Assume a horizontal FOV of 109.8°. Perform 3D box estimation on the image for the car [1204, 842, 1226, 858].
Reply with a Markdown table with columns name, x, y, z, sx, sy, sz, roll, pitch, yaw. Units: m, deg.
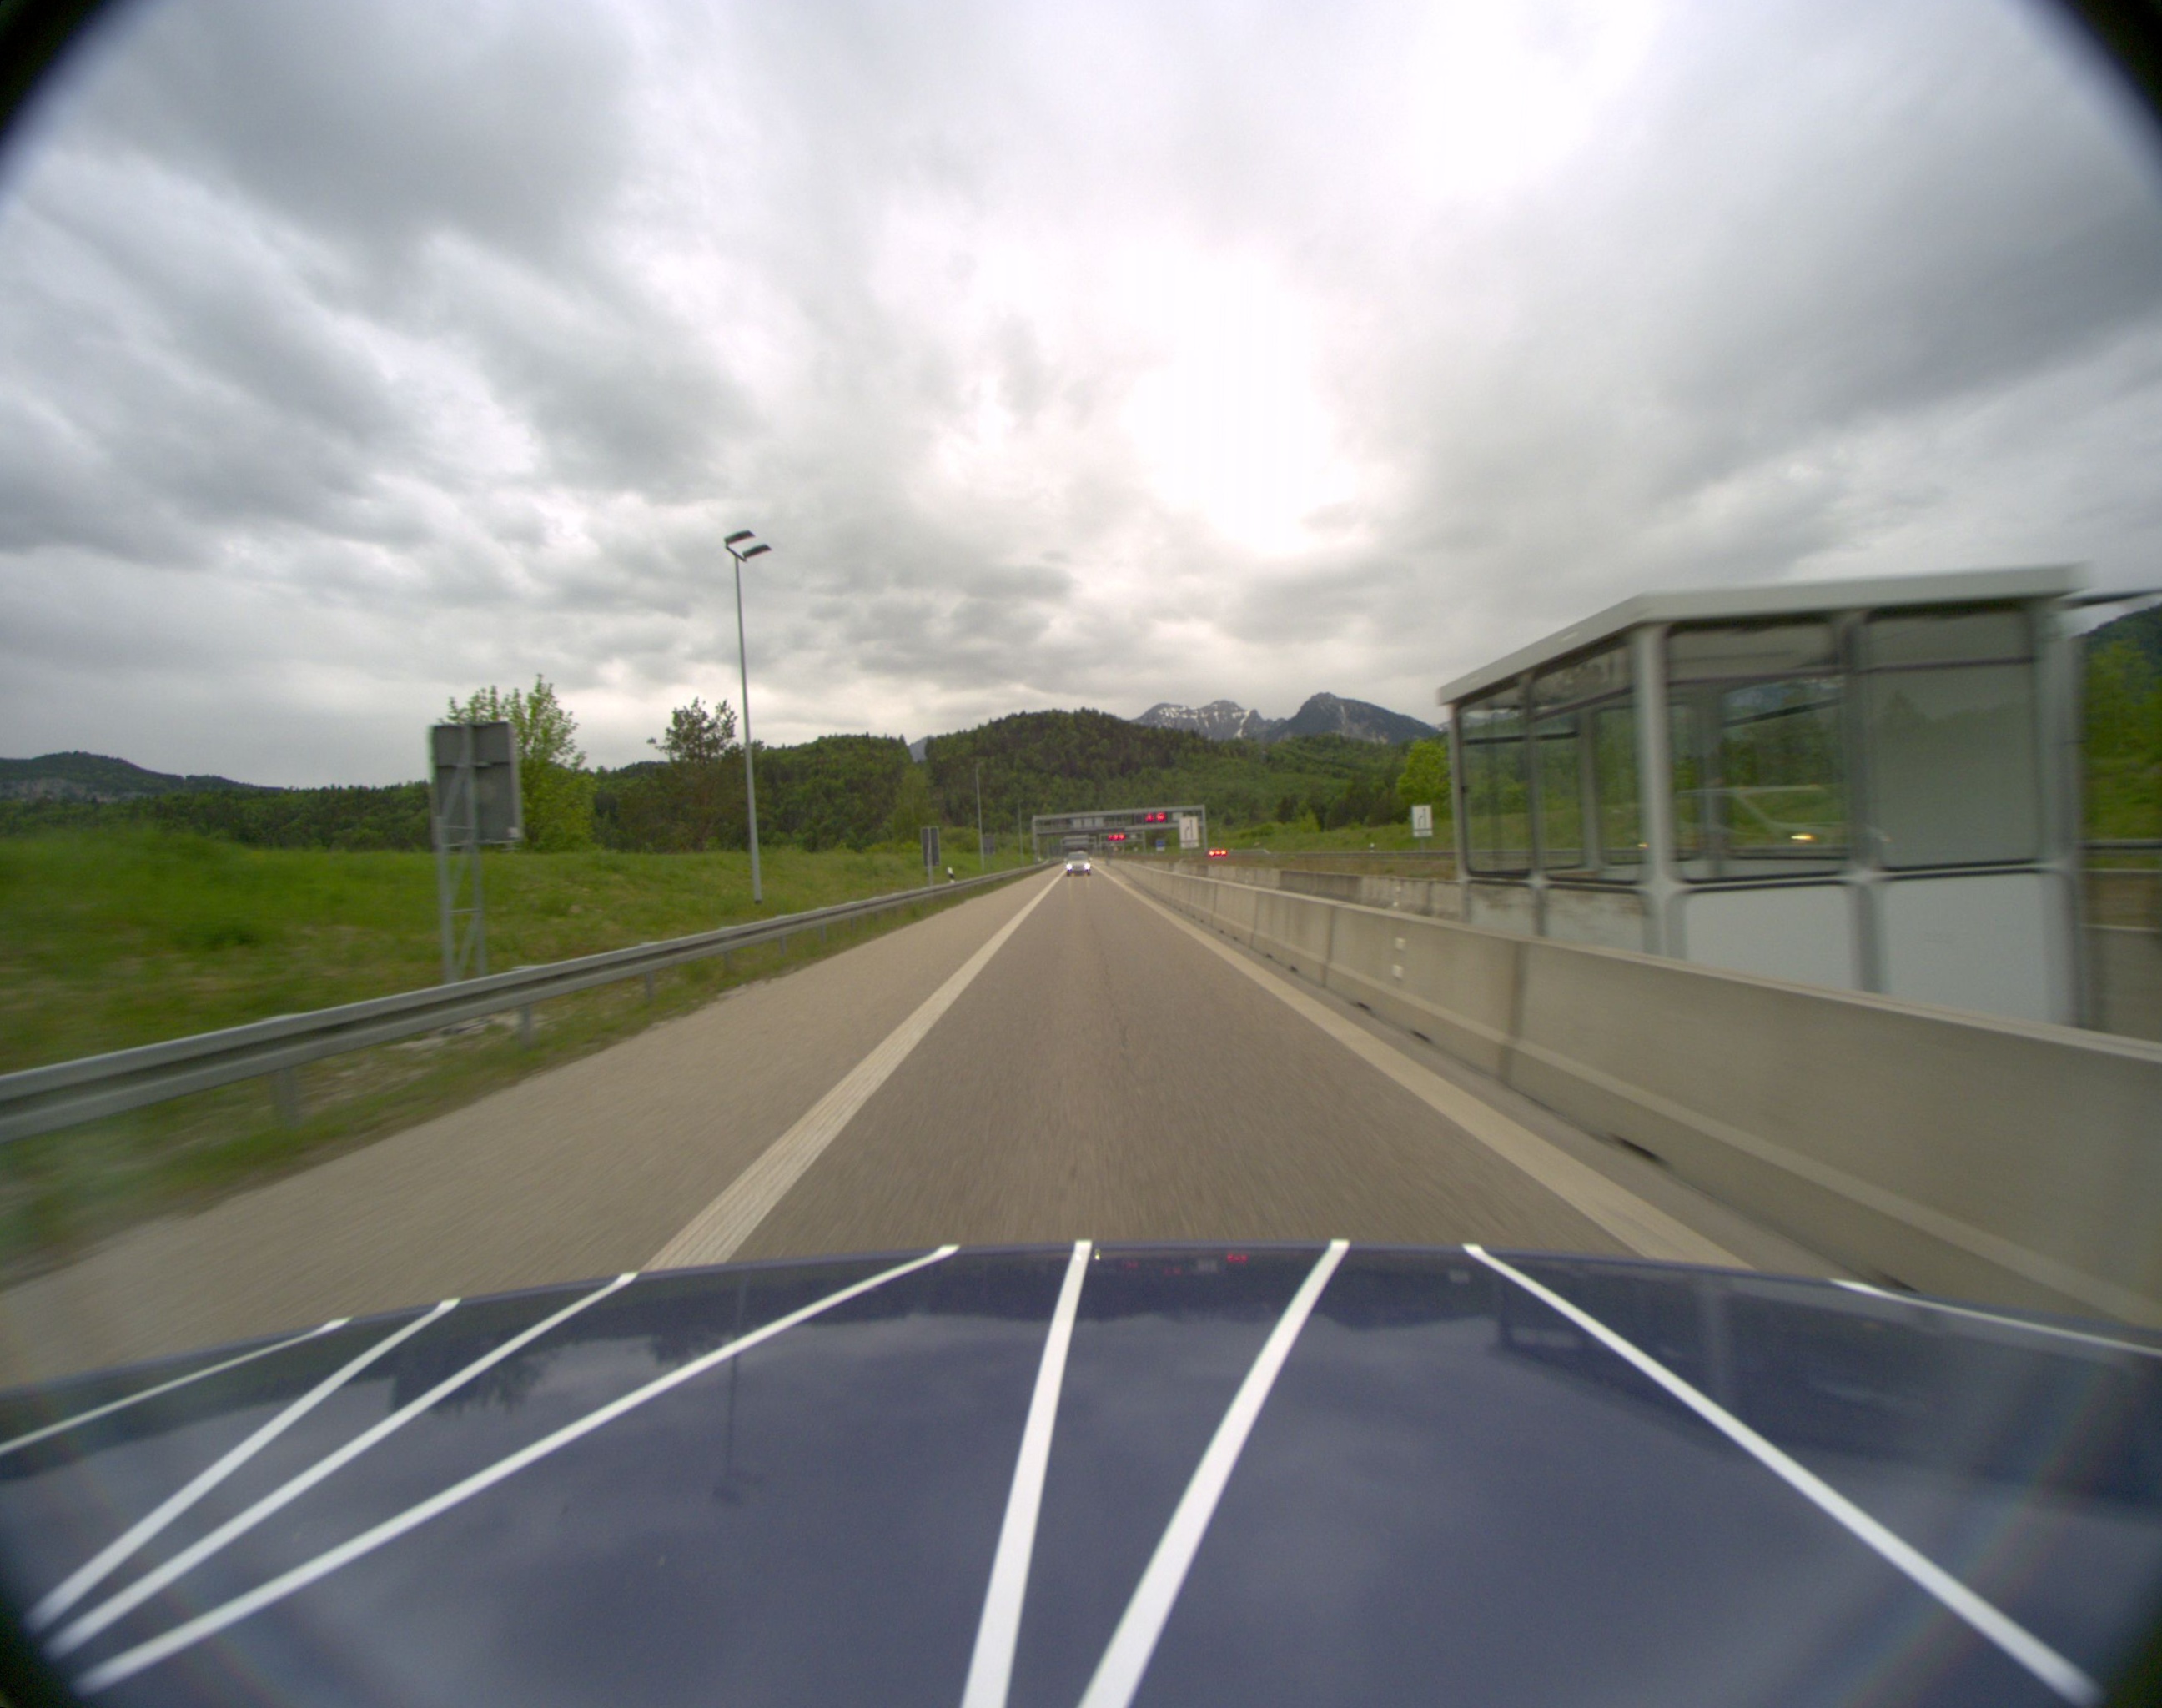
| name | x | y | z | sx | sy | sz | roll | pitch | yaw |
| --- | --- | --- | --- | --- | --- | --- | --- | --- | --- |
| car | 14.643 | -0.426 | 83.180 | 1.706 | 1.565 | 4.176 | -3 | 0 | 0 |

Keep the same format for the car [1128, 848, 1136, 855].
| name | x | y | z | sx | sy | sz | roll | pitch | yaw |
| --- | --- | --- | --- | --- | --- | --- | --- | --- | --- |
| car | 14.217 | -0.701 | 211.844 | 1.883 | 1.726 | 5.751 | -3 | 0 | 0 |

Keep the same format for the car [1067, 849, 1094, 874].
| name | x | y | z | sx | sy | sz | roll | pitch | yaw |
| --- | --- | --- | --- | --- | --- | --- | --- | --- | --- |
| car | 0.016 | 0.533 | 62.287 | 1.922 | 1.871 | 5.138 | -1 | 1 | 2 |
